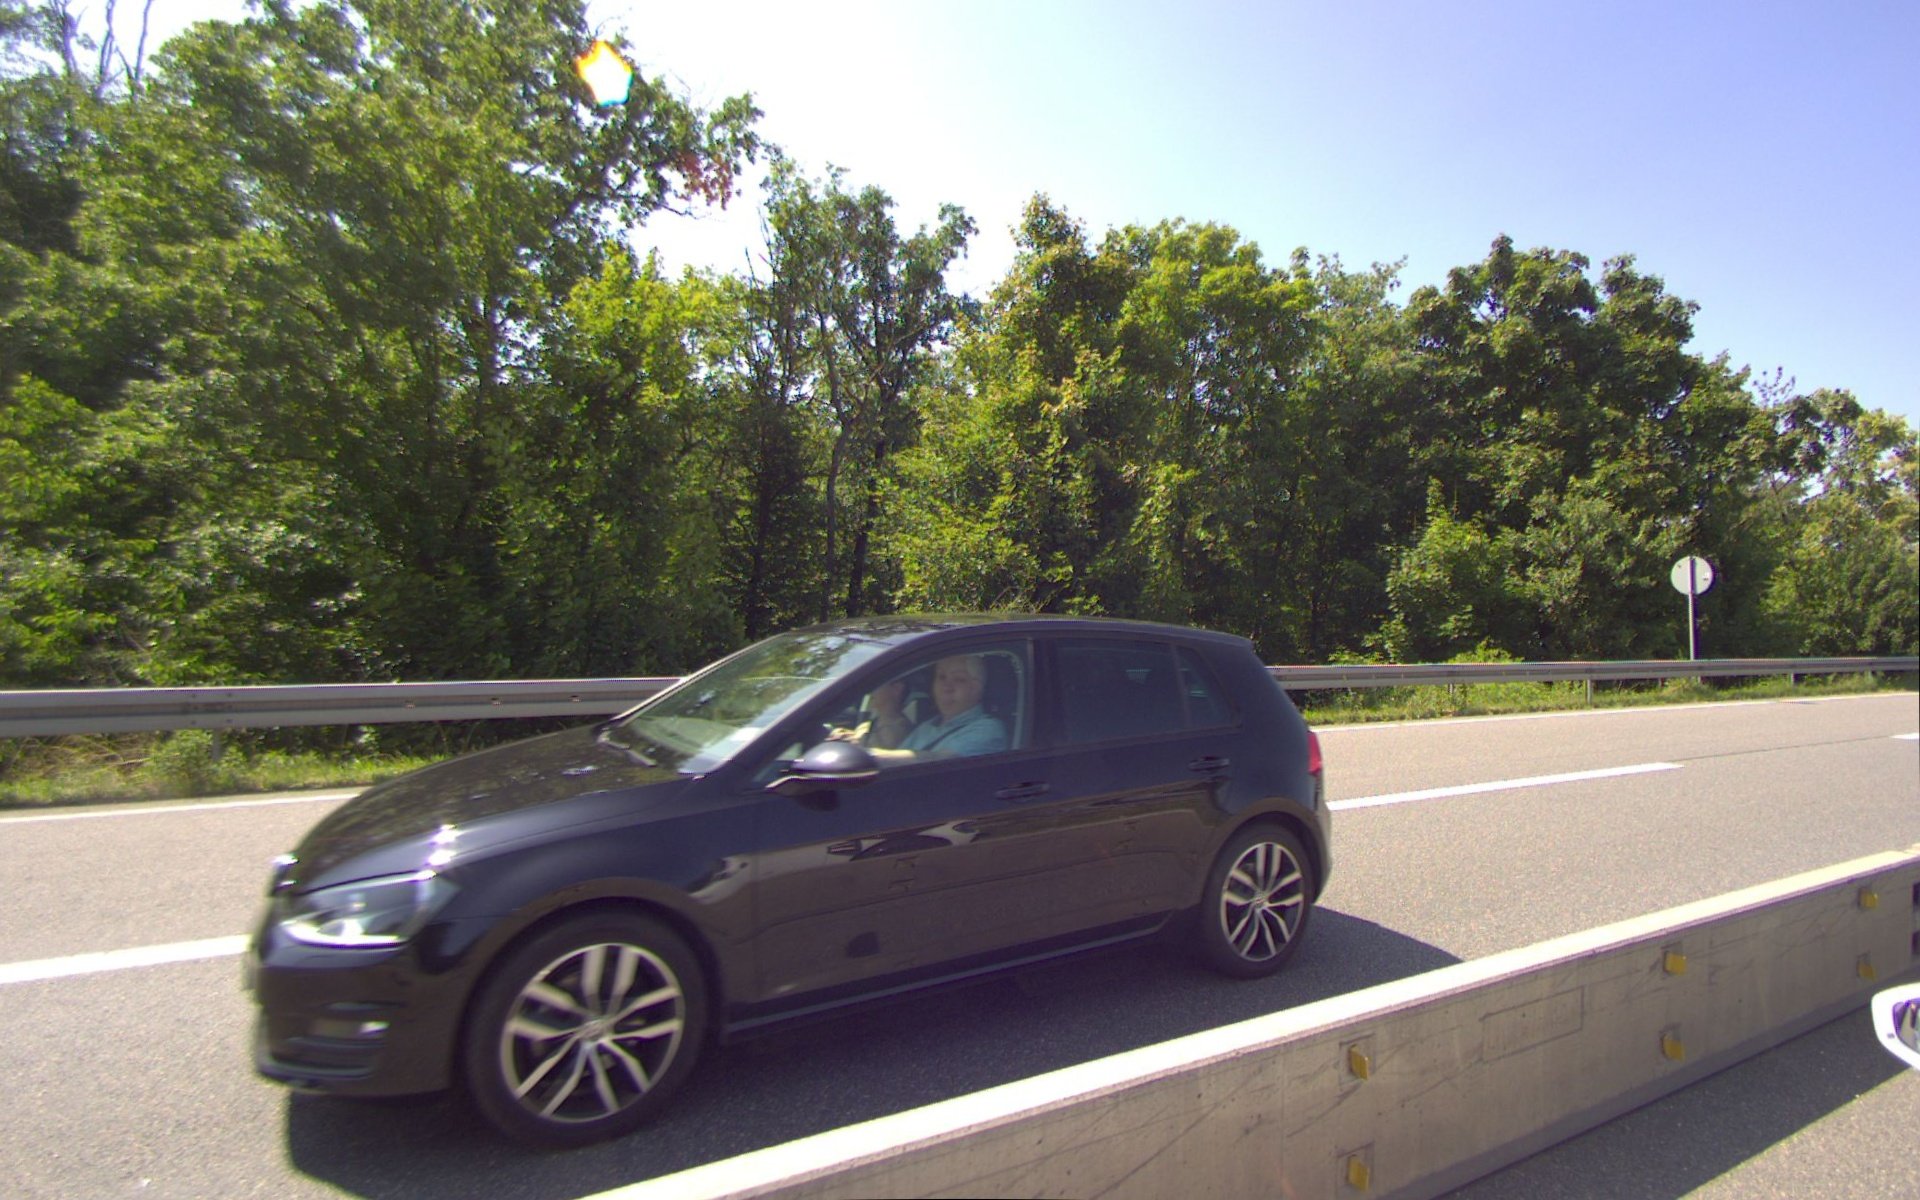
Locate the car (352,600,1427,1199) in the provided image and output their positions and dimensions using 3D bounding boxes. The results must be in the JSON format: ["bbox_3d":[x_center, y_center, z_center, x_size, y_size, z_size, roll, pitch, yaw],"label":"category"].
[{"bbox_3d":[-0.131,0.764,4.204,4.061,1.443,1.807,1,0,-31],"label":"car"}]
